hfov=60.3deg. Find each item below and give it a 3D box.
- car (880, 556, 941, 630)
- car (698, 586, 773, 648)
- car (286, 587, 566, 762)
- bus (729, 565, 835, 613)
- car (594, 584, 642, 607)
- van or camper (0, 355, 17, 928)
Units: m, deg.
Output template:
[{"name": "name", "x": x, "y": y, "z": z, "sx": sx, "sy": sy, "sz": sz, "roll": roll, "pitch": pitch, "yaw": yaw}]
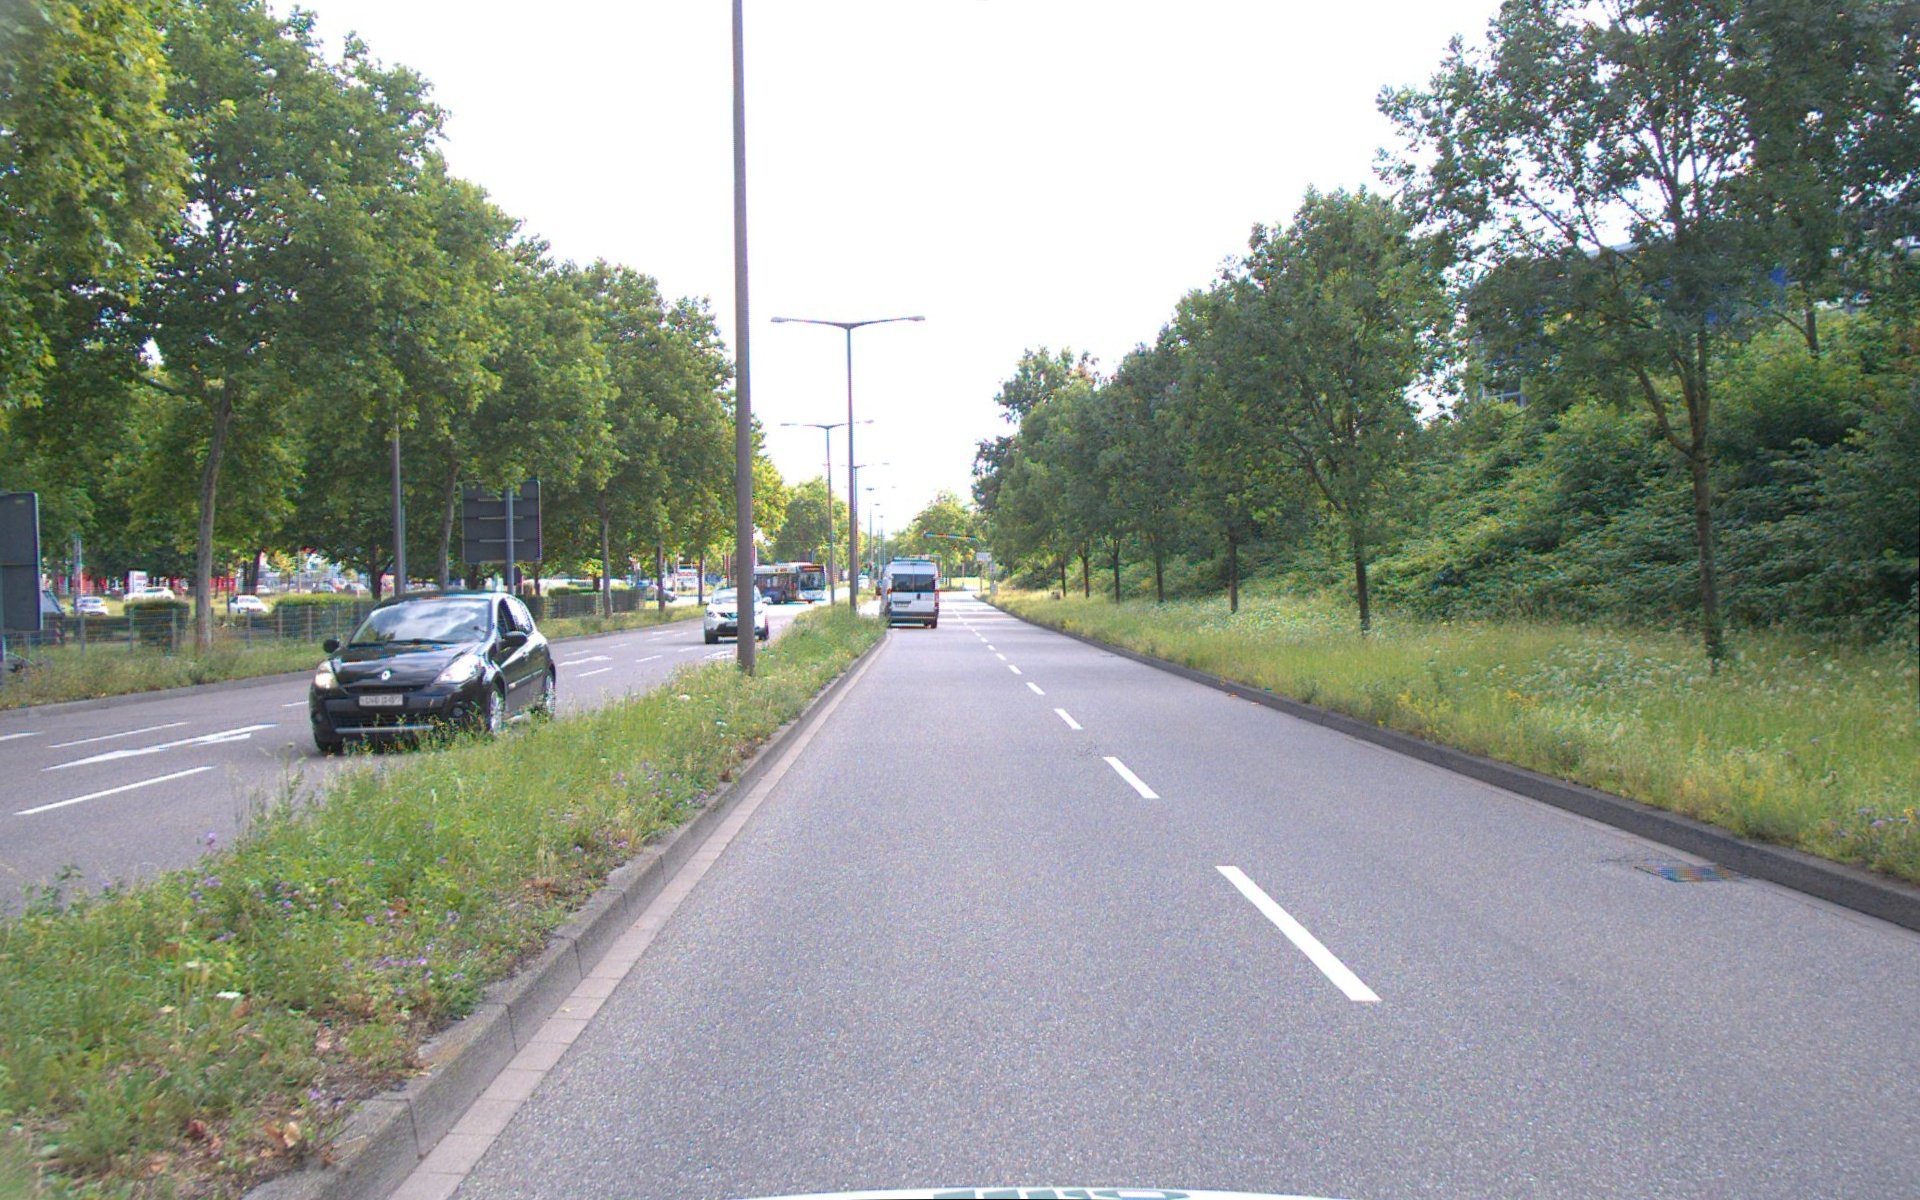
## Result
[{"name": "car", "x": -1.953, "y": -0.234, "z": 64.162, "sx": 2.154, "sy": 2.774, "sz": 4.927, "roll": 0, "pitch": -1, "yaw": -4}, {"name": "car", "x": -6.563, "y": 0.469, "z": 48.736, "sx": 1.778, "sy": 1.668, "sz": 4.349, "roll": -3, "pitch": 0, "yaw": -3}, {"name": "car", "x": -5.193, "y": 0.670, "z": 16.616, "sx": 1.660, "sy": 1.489, "sz": 3.938, "roll": -2, "pitch": 0, "yaw": -3}, {"name": "bus", "x": -14.300, "y": -0.837, "z": 131.628, "sx": 3.082, "sy": 3.332, "sz": 12.192, "roll": -2, "pitch": 0, "yaw": -33}, {"name": "car", "x": -31.112, "y": -0.382, "z": 150.475, "sx": 3.964, "sy": 1.870, "sz": 1.837, "roll": 3, "pitch": -4, "yaw": -41}, {"name": "van or camper", "x": -5.094, "y": 0.115, "z": 3.960, "sx": 2.063, "sy": 2.706, "sz": 6.713, "roll": -2, "pitch": 0, "yaw": -3}]
